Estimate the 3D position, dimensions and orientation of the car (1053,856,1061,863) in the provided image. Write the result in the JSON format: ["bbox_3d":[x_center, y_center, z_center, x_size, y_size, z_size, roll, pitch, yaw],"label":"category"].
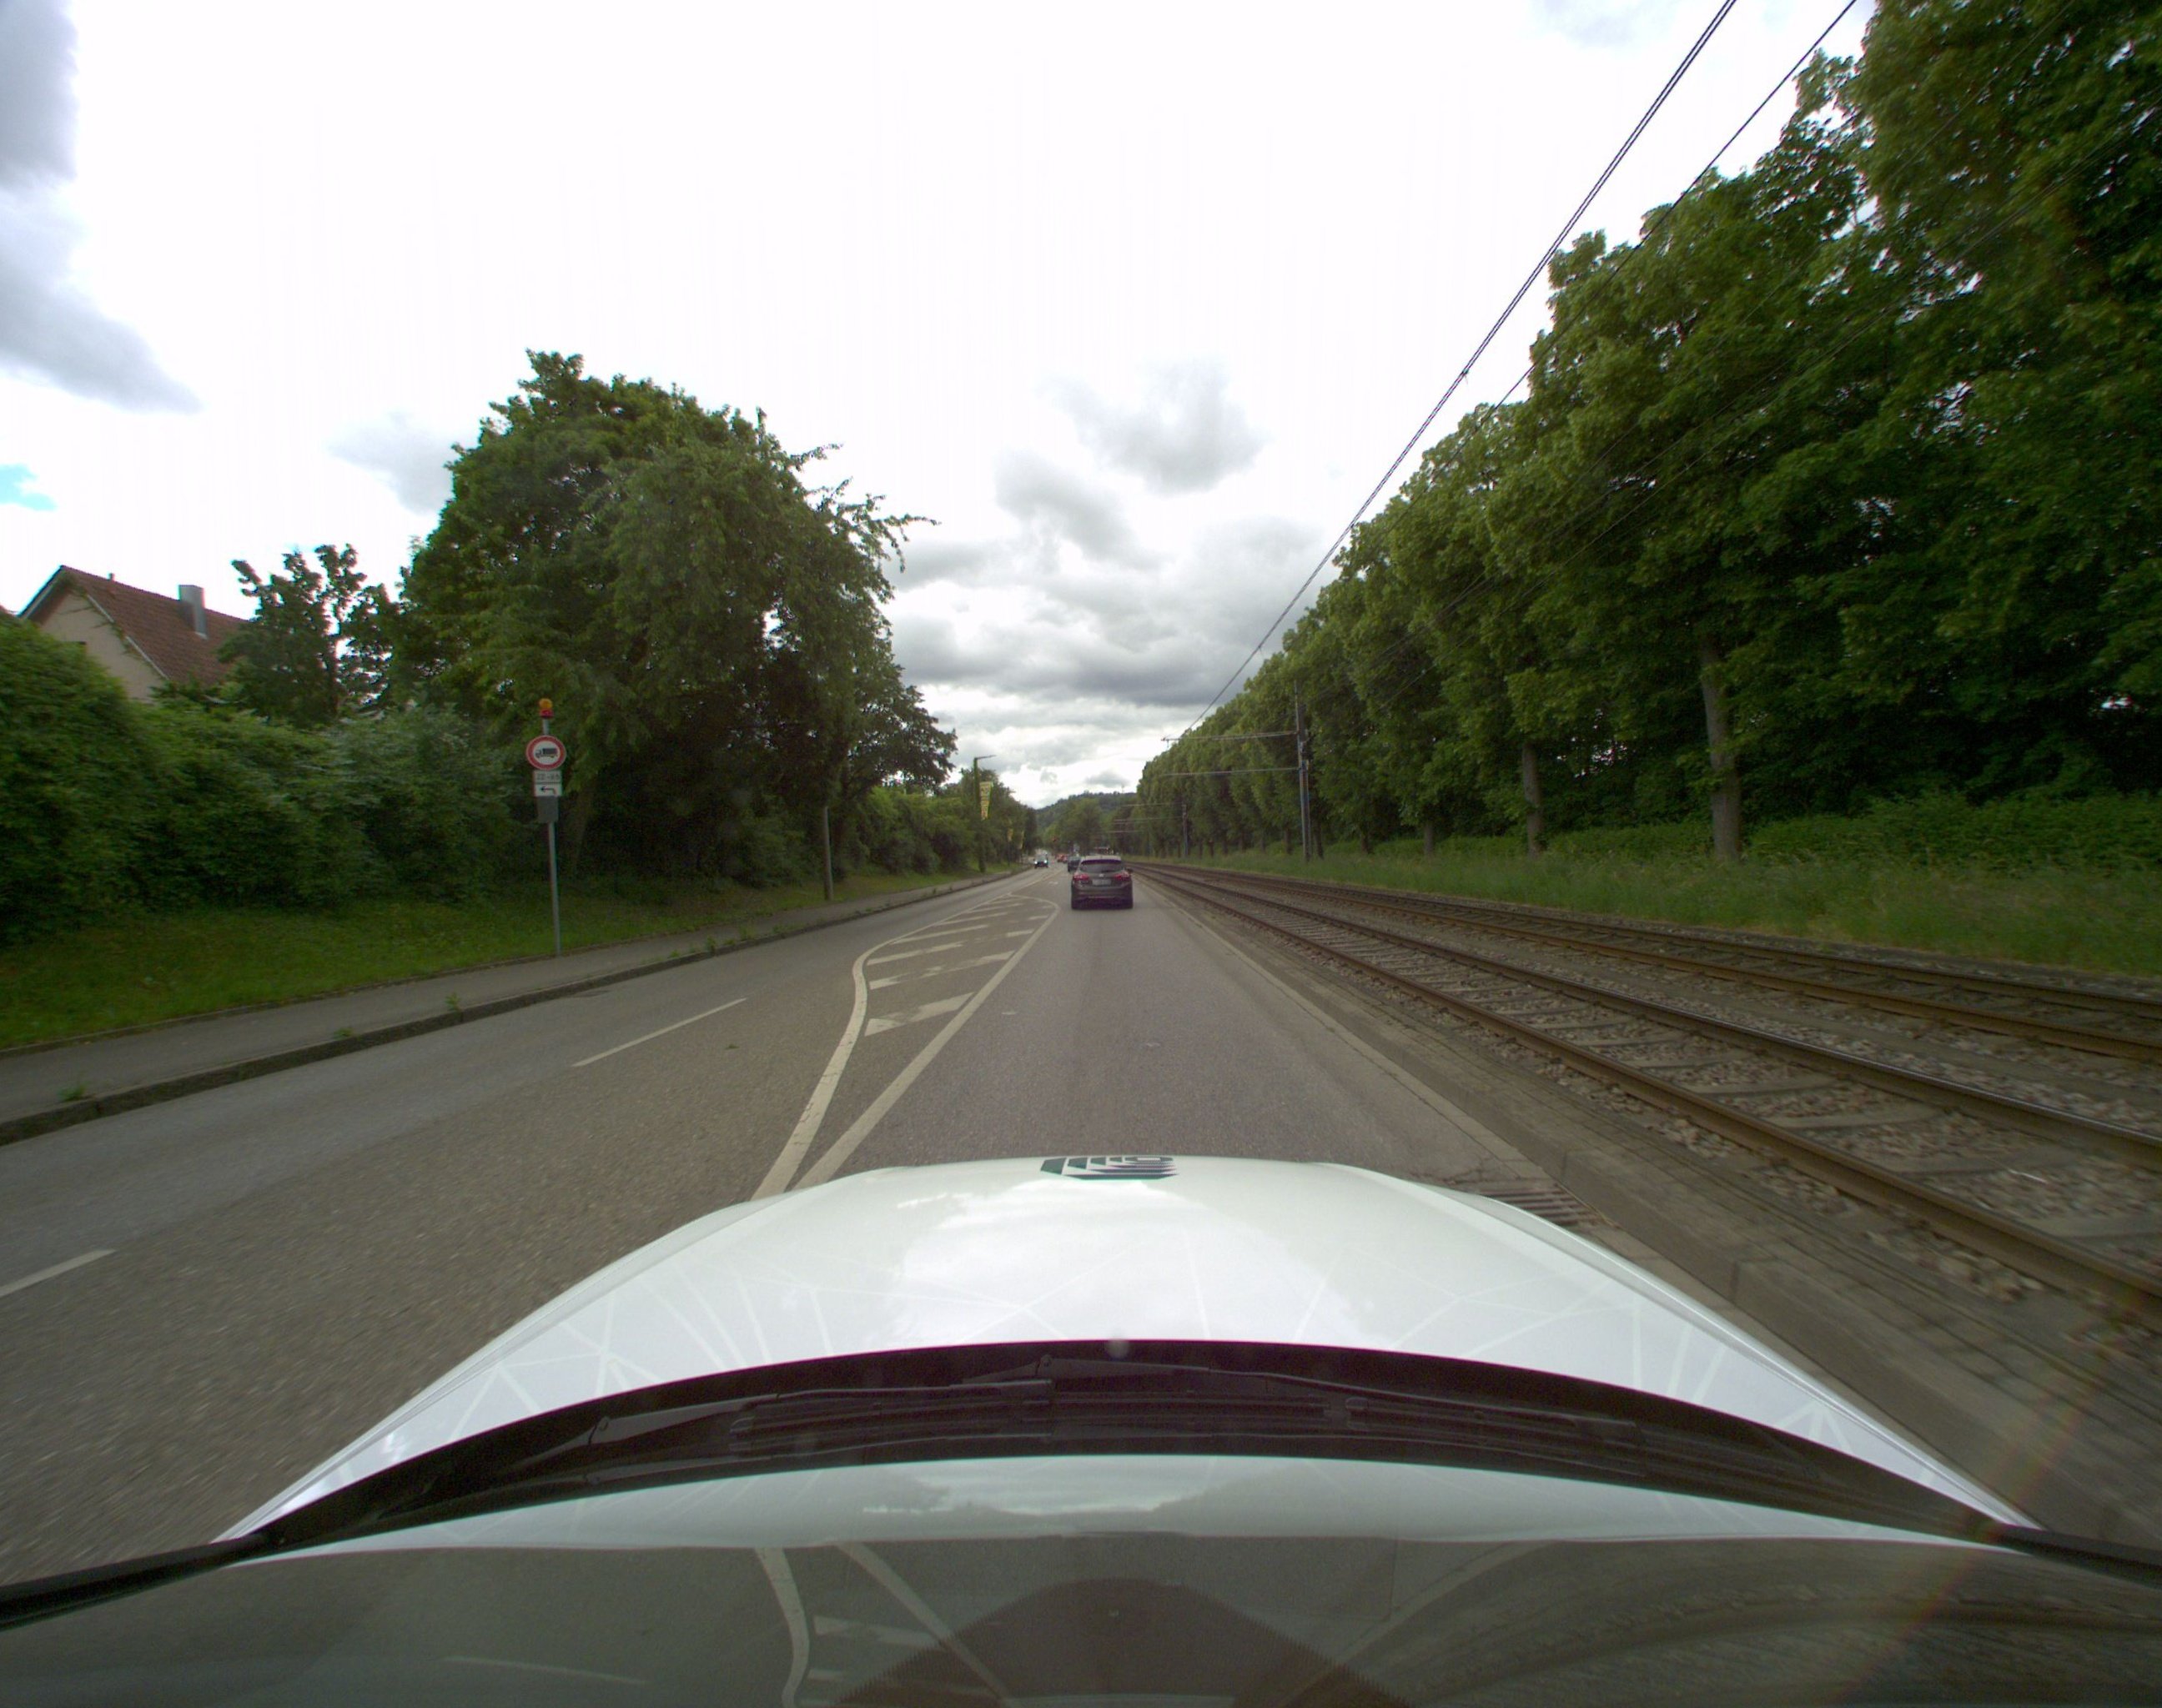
[{"bbox_3d":[-6.293,1.521,213.310,1.693,1.714,4.001,-1,0,2],"label":"car"}]

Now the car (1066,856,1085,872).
[{"bbox_3d":[-0.515,0.938,79.597,1.693,1.443,4.002,-2,0,2],"label":"car"}]

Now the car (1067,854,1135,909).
[{"bbox_3d":[0.625,0.765,24.502,1.843,1.493,4.002,-1,0,2],"label":"car"}]

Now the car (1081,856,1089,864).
[{"bbox_3d":[0.789,1.266,167.920,1.710,1.550,3.999,-2,-1,0],"label":"car"}]

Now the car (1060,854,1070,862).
[{"bbox_3d":[-3.130,0.793,163.508,1.787,1.510,4.001,-2,0,2],"label":"car"}]

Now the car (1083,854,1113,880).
[{"bbox_3d":[1.018,0.741,48.959,1.694,1.443,4.000,-1,0,0],"label":"car"}]

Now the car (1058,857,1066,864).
[{"bbox_3d":[-4.787,1.641,203.335,1.693,1.714,4.001,-1,0,2],"label":"car"}]

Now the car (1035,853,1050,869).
[{"bbox_3d":[-5.628,1.012,119.341,1.988,2.036,5.114,-4,0,-1],"label":"car"}]
